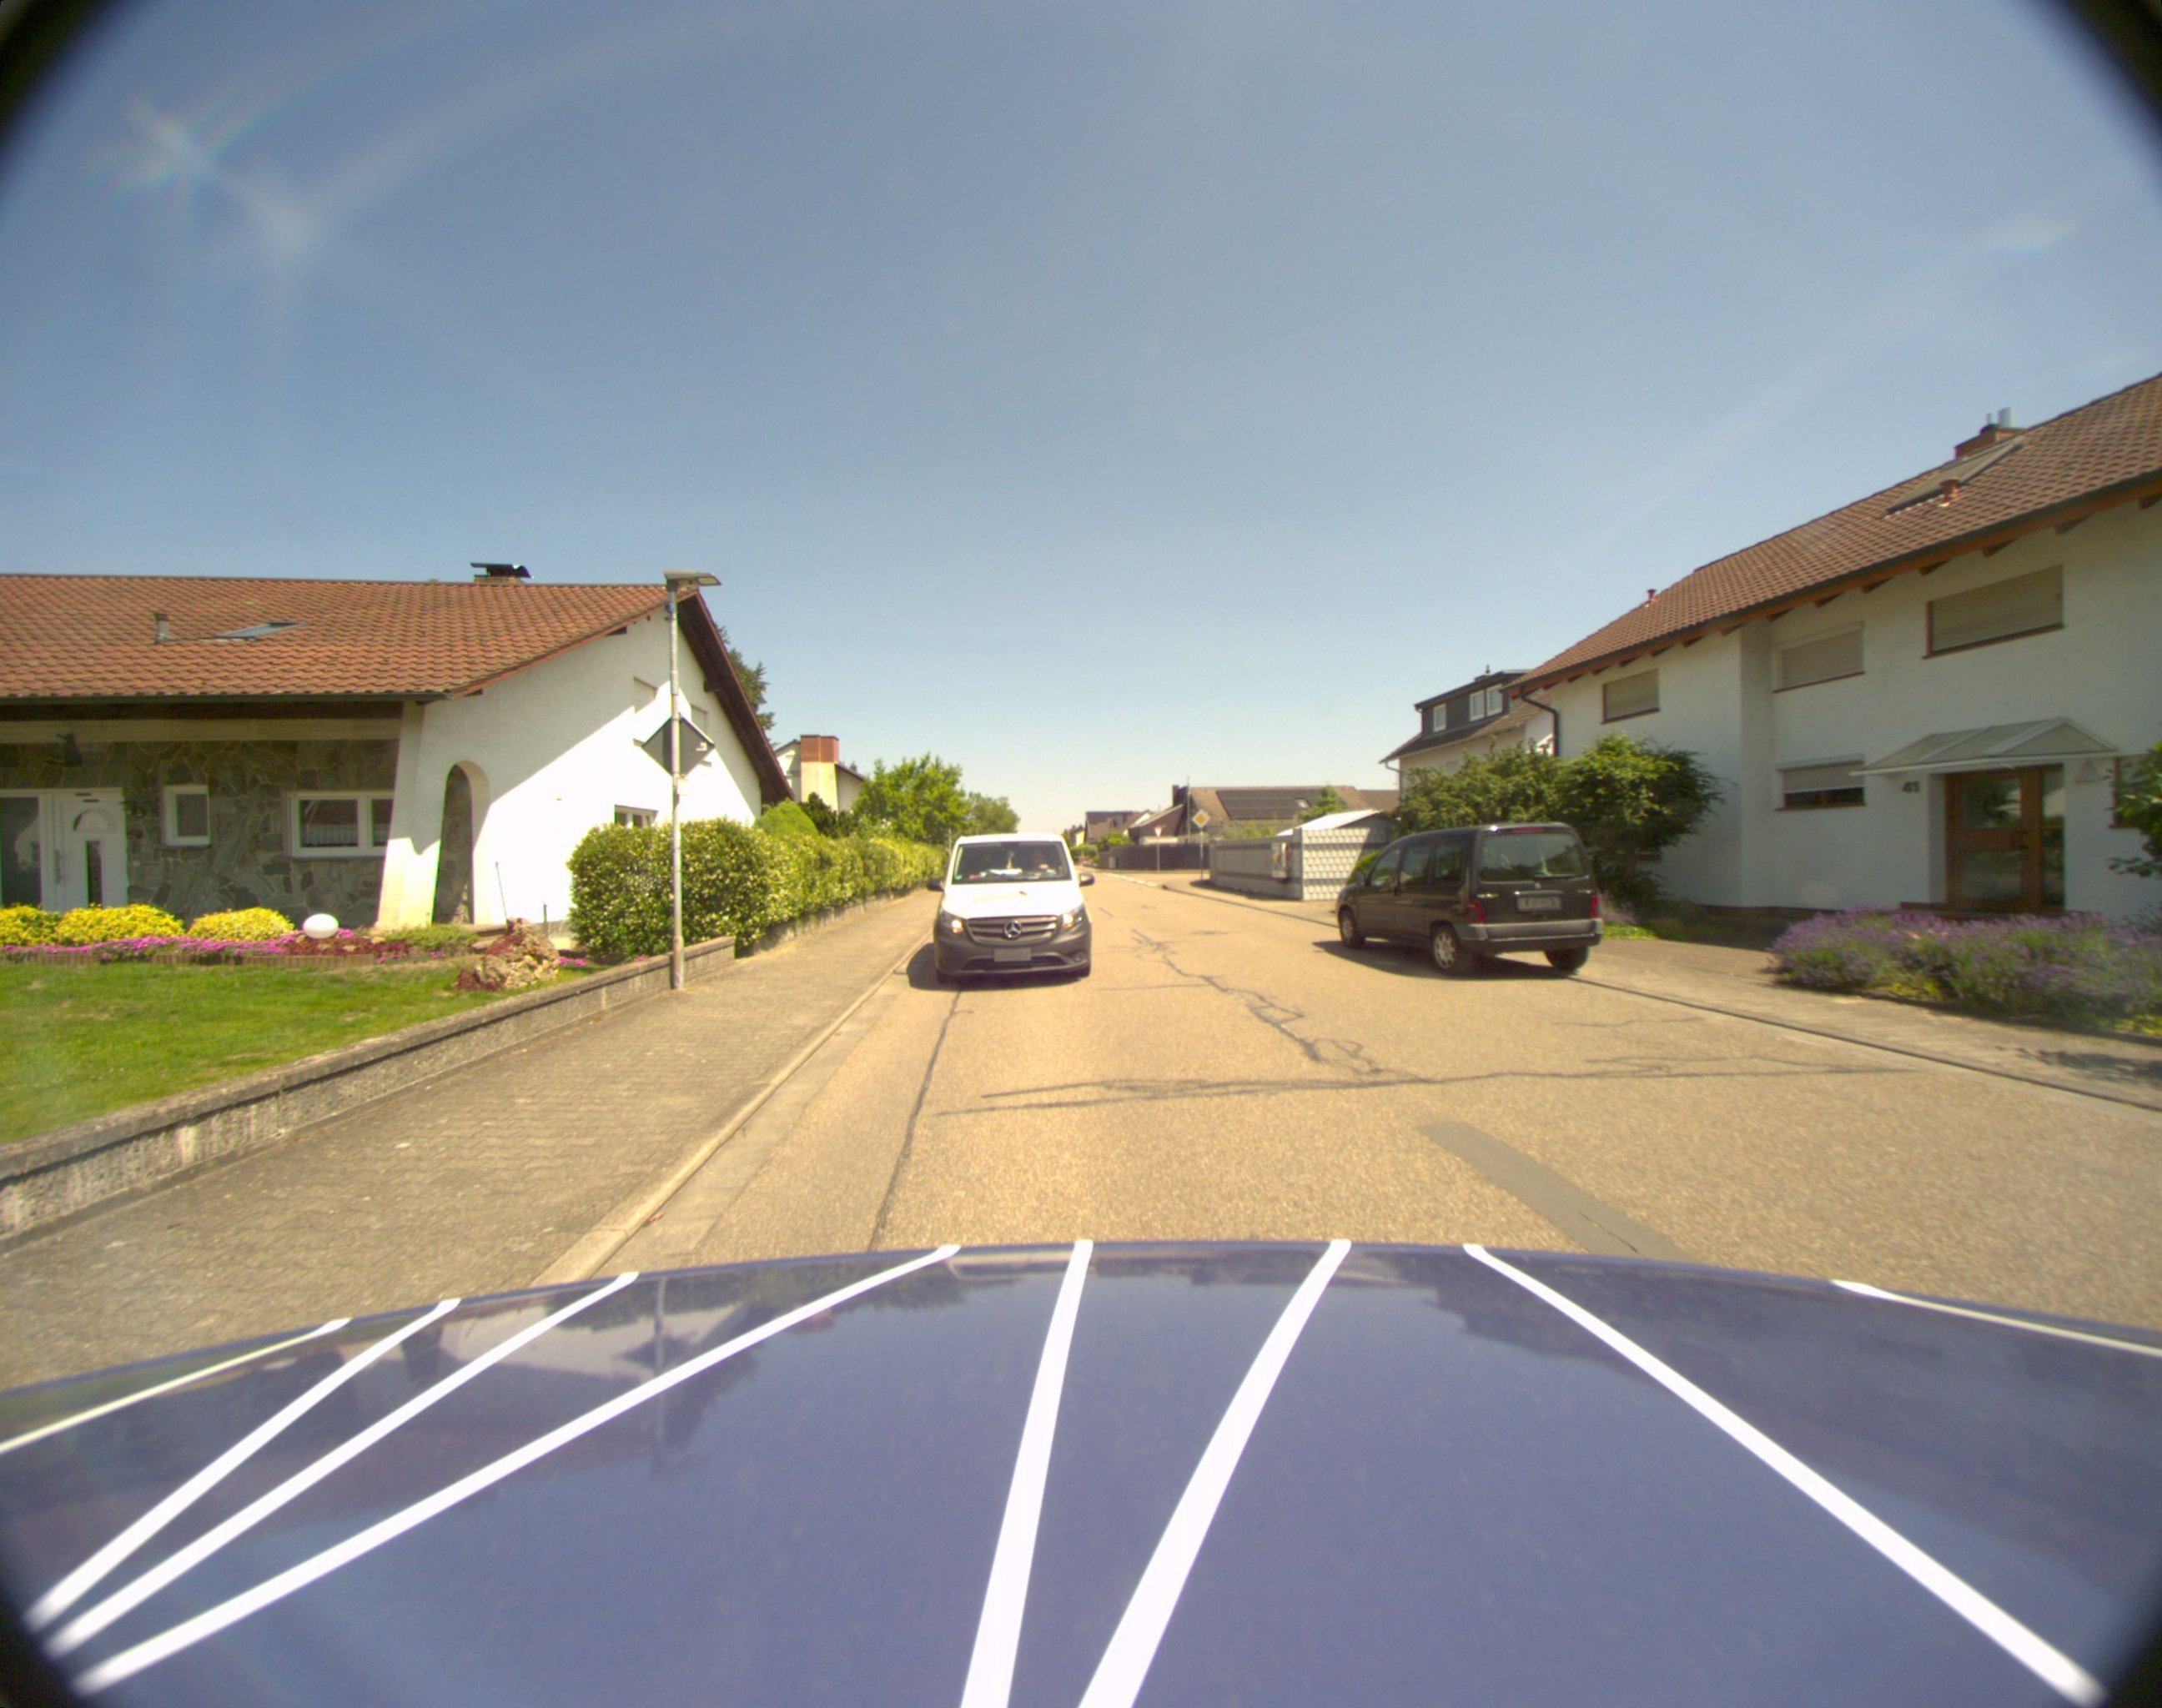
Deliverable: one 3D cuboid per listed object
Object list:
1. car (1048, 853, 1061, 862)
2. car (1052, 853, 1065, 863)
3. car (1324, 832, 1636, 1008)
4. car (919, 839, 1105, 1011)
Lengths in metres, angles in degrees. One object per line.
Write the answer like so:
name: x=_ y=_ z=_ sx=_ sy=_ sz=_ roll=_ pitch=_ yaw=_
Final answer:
car: x=-4.373 y=0.606 z=125.038 sx=1.999 sy=1.390 sz=3.999 roll=-1 pitch=1 yaw=-2
car: x=-3.234 y=0.587 z=108.836 sx=1.808 sy=1.390 sz=3.999 roll=-1 pitch=0 yaw=-2
car: x=4.946 y=0.688 z=10.157 sx=1.723 sy=1.835 sz=4.052 roll=-1 pitch=0 yaw=-6
car: x=-1.090 y=0.751 z=10.909 sx=2.019 sy=1.846 sz=5.064 roll=-1 pitch=1 yaw=-8
